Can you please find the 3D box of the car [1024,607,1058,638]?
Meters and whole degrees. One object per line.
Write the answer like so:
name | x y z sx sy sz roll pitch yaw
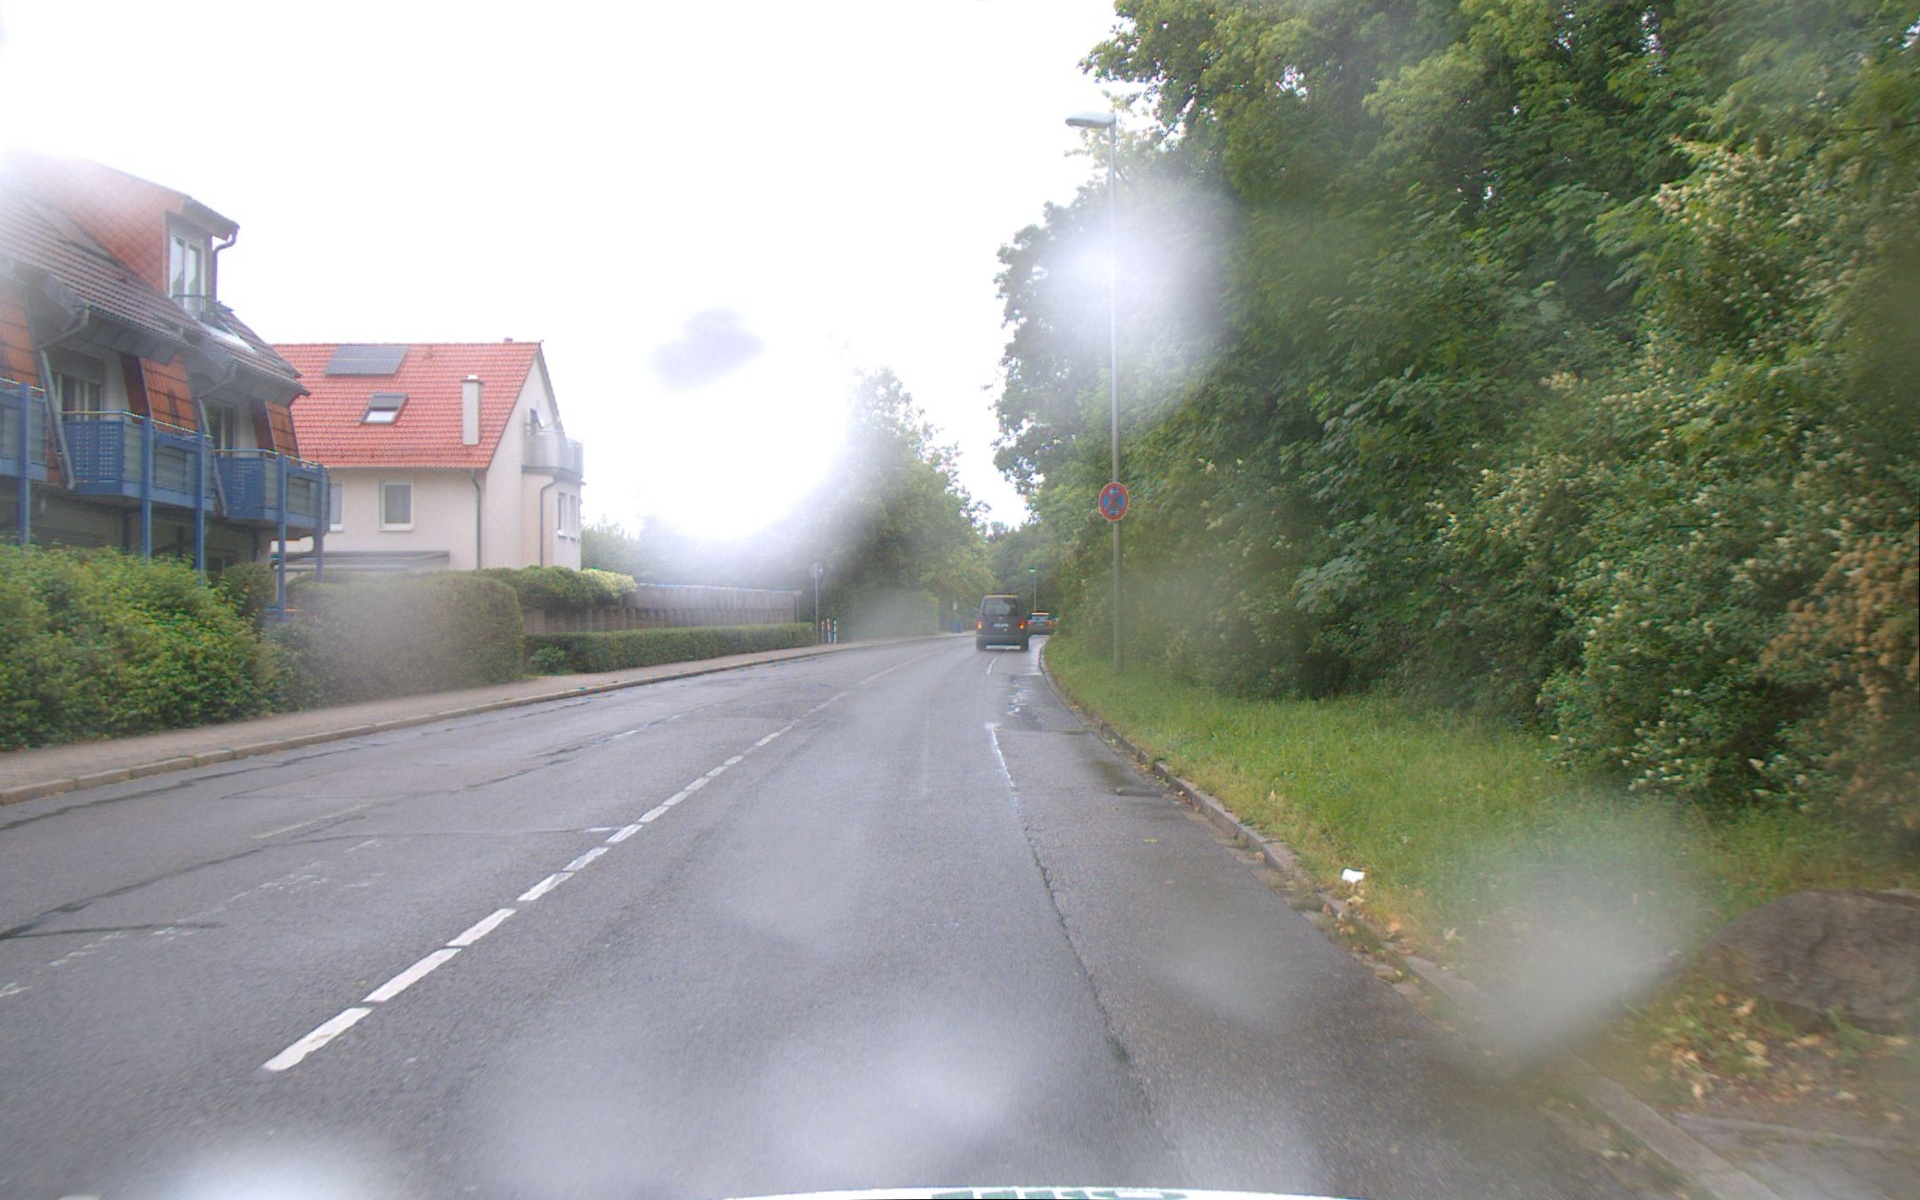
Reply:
car | 4.935 1.335 100.463 1.909 1.780 4.003 -1 0 5

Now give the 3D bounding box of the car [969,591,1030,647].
car | 1.407 0.608 57.087 1.952 1.825 4.002 0 1 4
